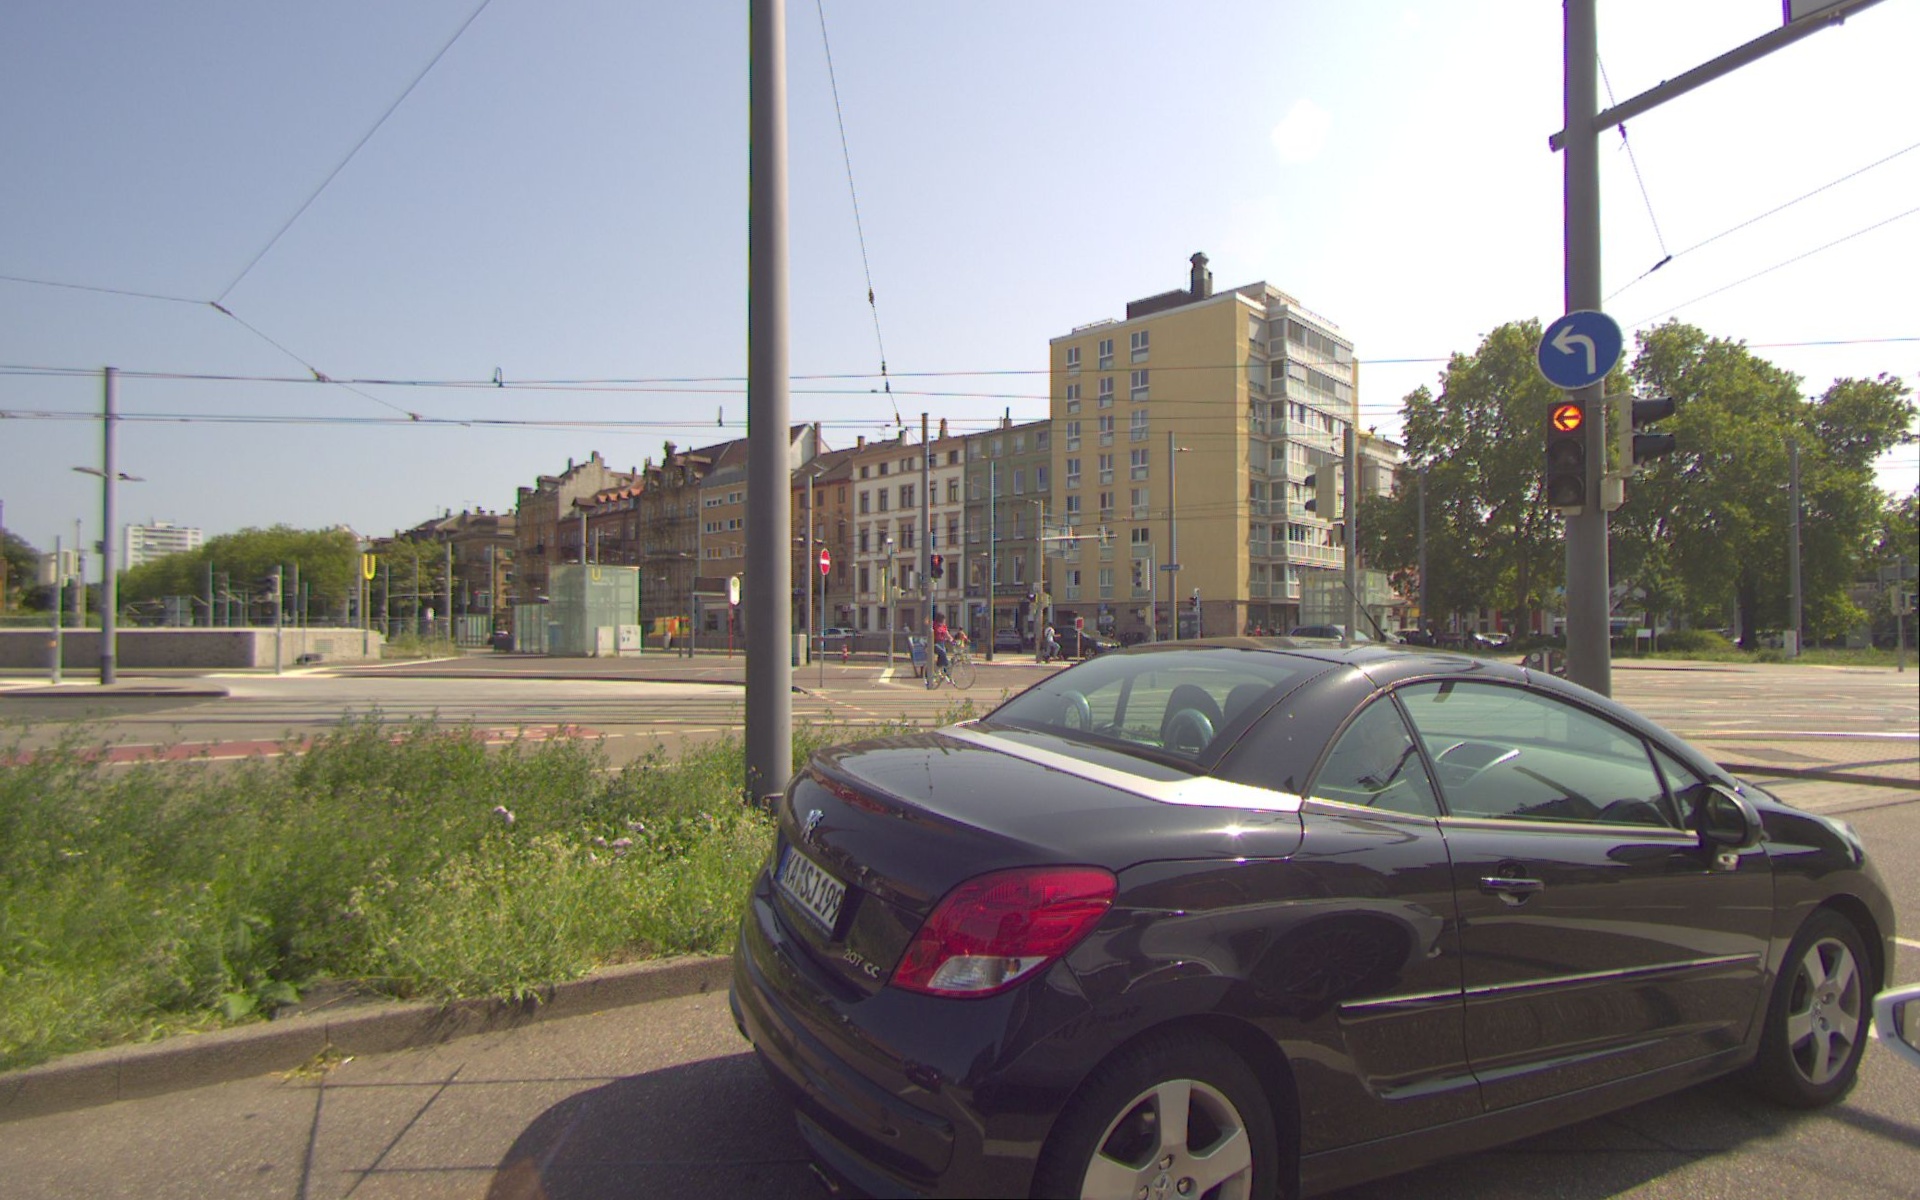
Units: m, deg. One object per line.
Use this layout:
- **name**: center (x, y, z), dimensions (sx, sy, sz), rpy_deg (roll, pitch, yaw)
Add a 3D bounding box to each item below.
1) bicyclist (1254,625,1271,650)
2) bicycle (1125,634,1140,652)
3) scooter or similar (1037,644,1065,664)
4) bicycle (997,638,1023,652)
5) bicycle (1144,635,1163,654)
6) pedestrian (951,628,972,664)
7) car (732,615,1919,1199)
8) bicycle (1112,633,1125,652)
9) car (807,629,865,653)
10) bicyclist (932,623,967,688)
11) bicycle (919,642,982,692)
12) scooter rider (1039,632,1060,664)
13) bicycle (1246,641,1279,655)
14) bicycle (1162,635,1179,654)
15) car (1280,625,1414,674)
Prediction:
- **bicyclist**: center (18.428, 2.274, 61.227), dimensions (0.861, 1.495, 0.543), rpy_deg (-1, -2, 43)
- **bicycle**: center (11.750, 2.902, 68.447), dimensions (0.680, 1.220, 3.265), rpy_deg (0, -2, 5)
- **scooter or similar**: center (3.996, 2.377, 44.090), dimensions (1.132, 0.835, 0.517), rpy_deg (1, -2, -35)
- **bicycle**: center (3.623, 3.256, 72.990), dimensions (1.787, 0.954, 0.567), rpy_deg (-1, -2, 30)
- **bicycle**: center (12.948, 2.957, 67.191), dimensions (0.892, 1.220, 3.265), rpy_deg (0, -2, 5)
- **pedestrian**: center (0.063, 2.051, 44.594), dimensions (0.843, 1.563, 0.742), rpy_deg (1, -2, -9)
- **car**: center (1.317, 0.789, 3.297), dimensions (3.731, 1.406, 1.760), rpy_deg (1, 0, -26)
- **bicycle**: center (10.921, 2.924, 69.451), dimensions (0.680, 1.220, 2.793), rpy_deg (0, -2, 5)
- **car**: center (-8.660, 2.847, 69.801), dimensions (1.743, 1.639, 4.279), rpy_deg (2, -2, -44)
- **bicyclist**: center (-0.242, 1.310, 23.962), dimensions (0.632, 1.529, 0.553), rpy_deg (1, -2, -36)
- **bicycle**: center (-0.252, 1.573, 23.847), dimensions (0.499, 1.108, 1.918), rpy_deg (1, -2, -35)
- **scooter rider**: center (3.927, 2.107, 44.156), dimensions (0.602, 1.371, 0.682), rpy_deg (1, -2, -35)
- **bicycle**: center (18.435, 2.919, 61.198), dimensions (1.836, 0.813, 0.604), rpy_deg (-1, -2, 43)
- **bicycle**: center (13.876, 2.907, 66.235), dimensions (0.680, 1.220, 3.265), rpy_deg (0, -2, 5)
- **car**: center (13.847, 1.734, 36.206), dimensions (1.749, 1.621, 4.510), rpy_deg (1, -2, -28)
